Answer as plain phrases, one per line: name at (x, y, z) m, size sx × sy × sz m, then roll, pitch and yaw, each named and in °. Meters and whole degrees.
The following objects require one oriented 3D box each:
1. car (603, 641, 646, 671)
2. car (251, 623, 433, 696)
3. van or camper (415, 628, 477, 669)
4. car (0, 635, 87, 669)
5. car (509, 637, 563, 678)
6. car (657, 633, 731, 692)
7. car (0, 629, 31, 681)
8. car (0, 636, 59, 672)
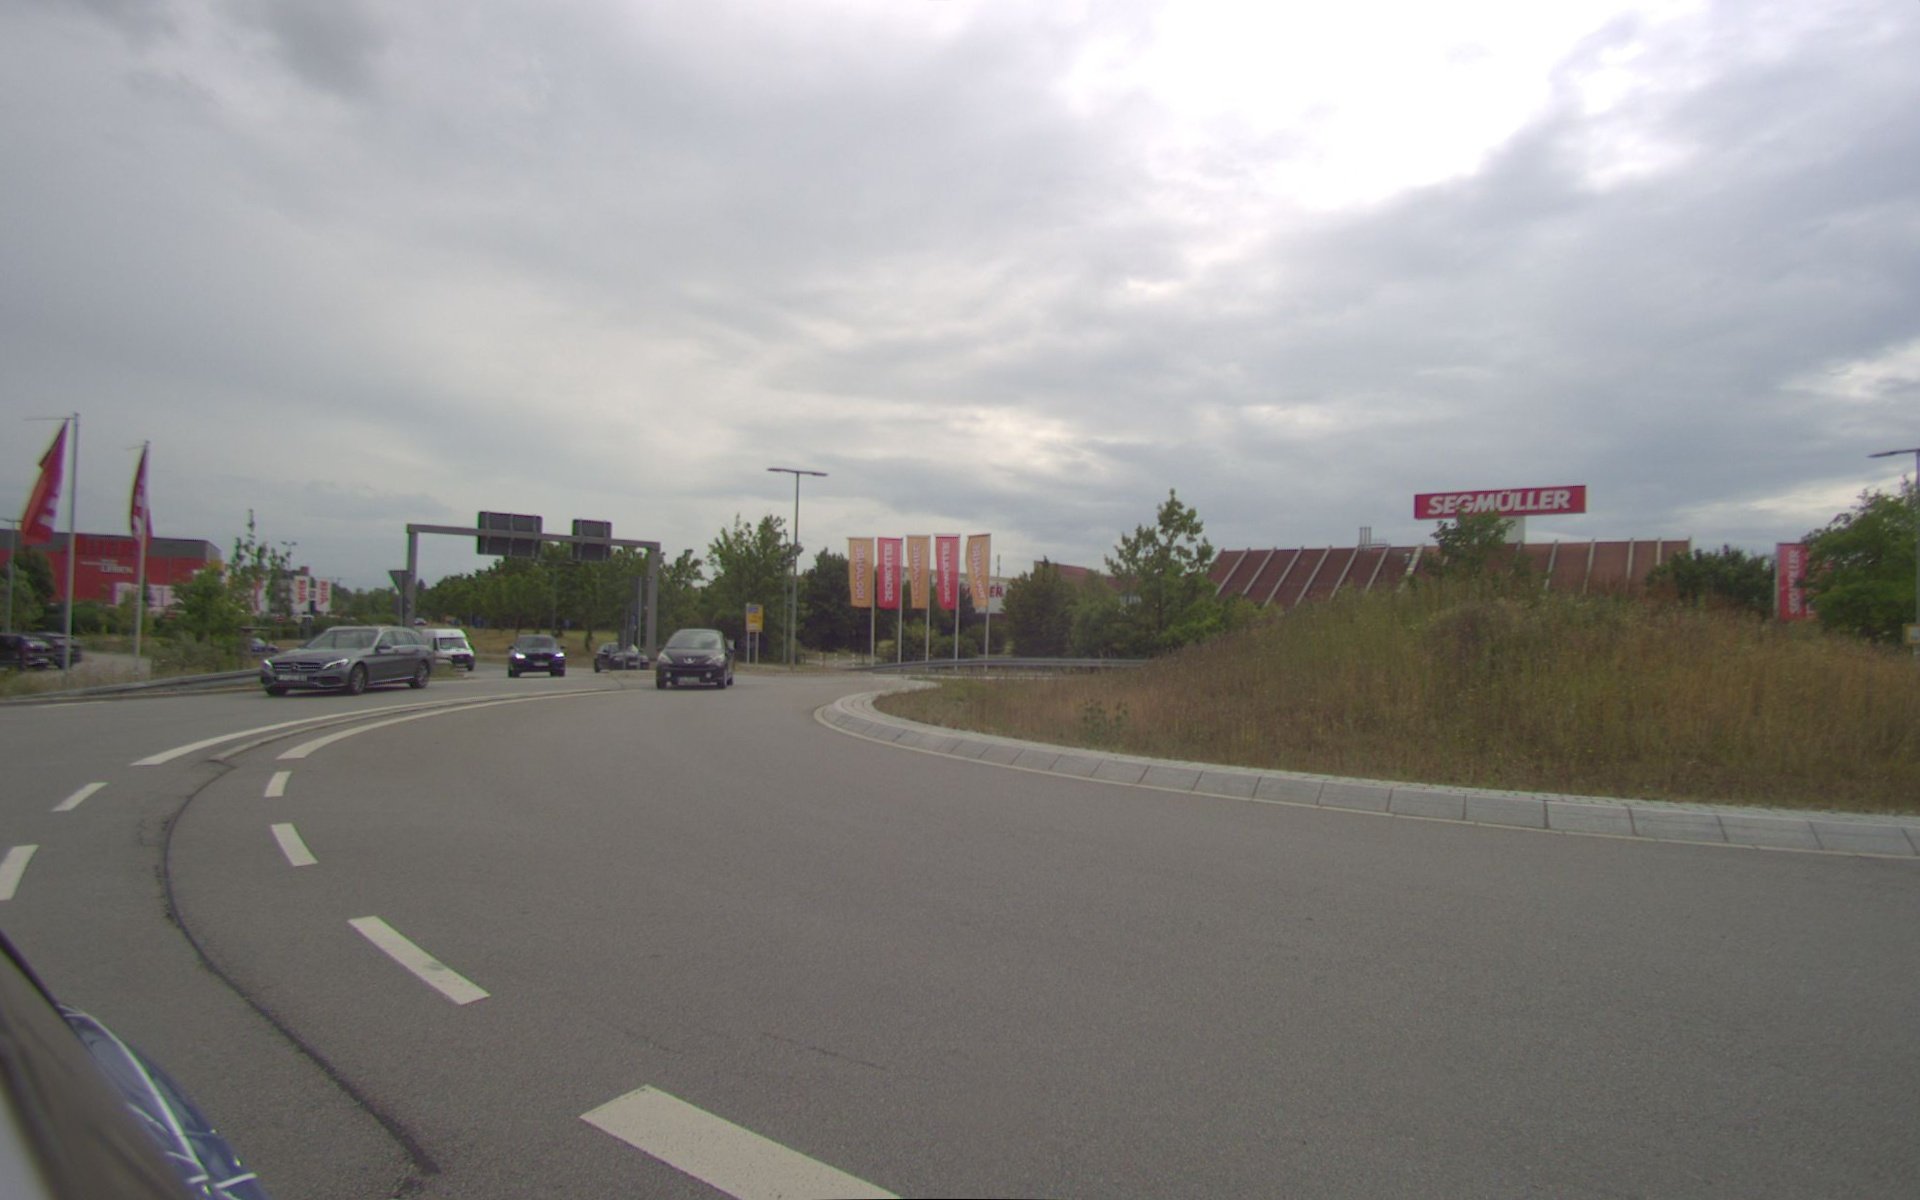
car at (-15.759, 2.597, 47.473) m, size 1.553 × 1.278 × 3.325 m, roll 1°, pitch -1°, yaw -25°
car at (-13.439, 1.284, 22.312) m, size 1.739 × 1.431 × 4.095 m, roll 1°, pitch -3°, yaw -5°
van or camper at (-32.089, 2.942, 63.085) m, size 2.022 × 2.382 × 5.547 m, roll 2°, pitch -2°, yaw -42°
car at (-46.100, 2.608, 50.526) m, size 4.035 × 1.635 × 1.729 m, roll -1°, pitch -4°, yaw 13°
car at (-16.523, 2.215, 39.599) m, size 1.828 × 1.422 × 4.572 m, roll 1°, pitch -1°, yaw -21°
car at (-6.662, 1.555, 25.630) m, size 1.555 × 1.364 × 3.832 m, roll 1°, pitch -3°, yaw -11°
car at (-39.364, 2.129, 40.040) m, size 4.035 × 1.922 × 1.899 m, roll 1°, pitch 1°, yaw 12°
car at (-45.082, 2.562, 47.800) m, size 4.035 × 1.635 × 1.644 m, roll -1°, pitch -4°, yaw 12°
